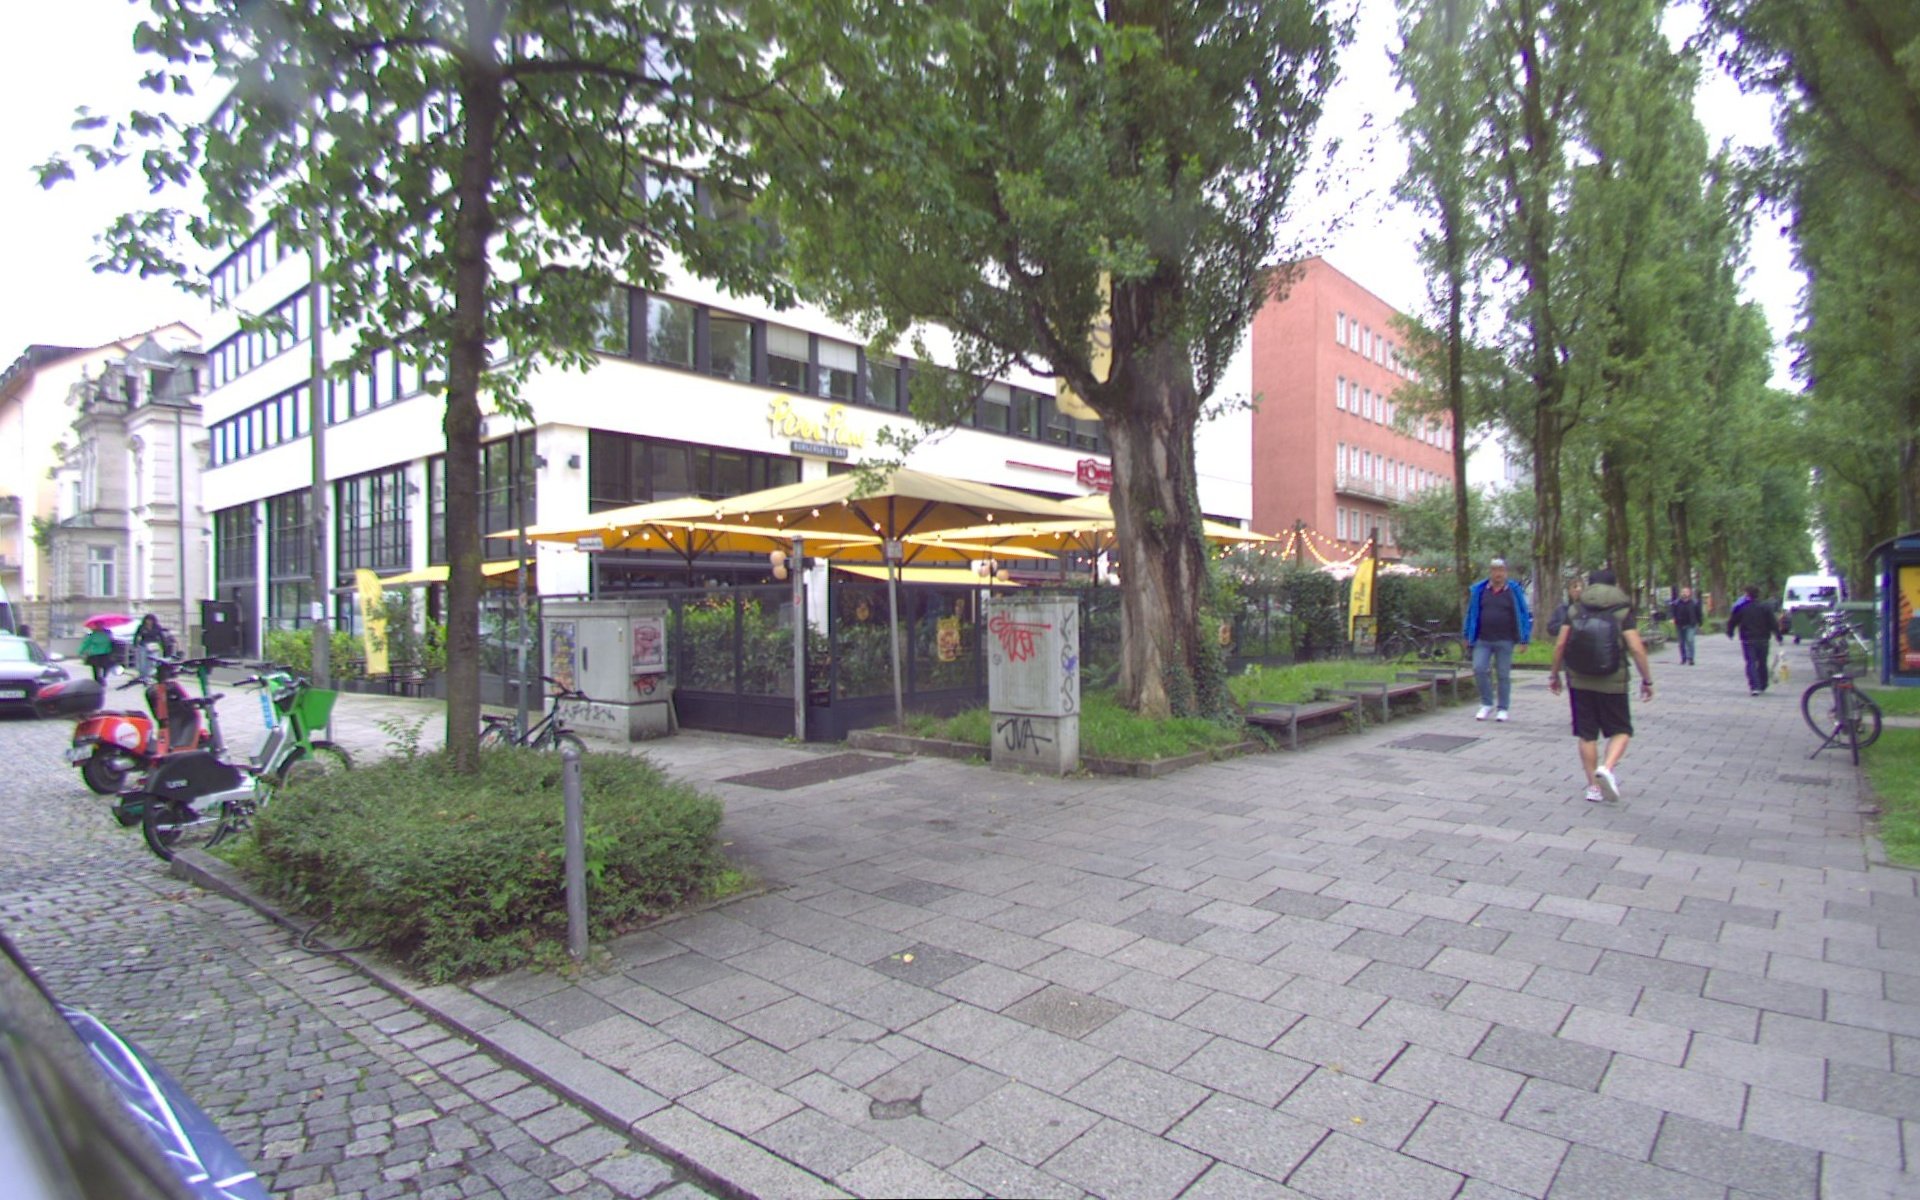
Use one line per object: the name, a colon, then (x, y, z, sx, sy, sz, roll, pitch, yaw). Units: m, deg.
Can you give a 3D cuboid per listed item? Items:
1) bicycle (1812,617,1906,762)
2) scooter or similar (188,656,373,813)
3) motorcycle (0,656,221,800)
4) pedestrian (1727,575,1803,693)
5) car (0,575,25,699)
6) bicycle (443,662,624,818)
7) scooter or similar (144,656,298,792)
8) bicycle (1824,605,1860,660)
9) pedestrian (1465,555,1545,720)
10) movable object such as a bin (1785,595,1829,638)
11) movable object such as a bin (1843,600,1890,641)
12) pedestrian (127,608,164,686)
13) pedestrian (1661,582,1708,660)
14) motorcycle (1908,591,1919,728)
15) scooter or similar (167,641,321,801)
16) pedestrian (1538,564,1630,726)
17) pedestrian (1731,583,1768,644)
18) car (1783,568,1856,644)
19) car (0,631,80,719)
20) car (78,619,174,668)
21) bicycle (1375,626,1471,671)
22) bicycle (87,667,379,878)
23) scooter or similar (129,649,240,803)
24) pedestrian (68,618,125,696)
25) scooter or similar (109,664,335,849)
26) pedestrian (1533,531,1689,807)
bicycle: (8.268, 0.766, 9.338, 0.583, 1.197, 1.594, -1, -1, 41)
scooter or similar: (-5.631, 1.076, 8.431, 0.327, 1.153, 1.234, -1, -1, 41)
motorcycle: (-8.100, 1.151, 9.729, 0.759, 1.205, 1.995, 0, -2, -9)
pedestrian: (12.289, 0.500, 15.463, 0.857, 1.724, 0.946, -1, -1, 39)
car: (-22.128, 0.791, 21.889, 5.843, 2.510, 2.039, -1, -1, 40)
bicycle: (-3.364, 1.035, 7.908, 1.761, 1.030, 0.546, -1, -1, 40)
scooter or similar: (-6.785, 1.122, 9.297, 1.237, 1.189, 0.389, -1, -1, 9)
bicycle: (20.193, 0.712, 23.188, 0.583, 1.197, 2.112, -1, -1, 41)
pedestrian: (6.537, 0.442, 12.166, 0.697, 1.922, 0.641, -1, -1, 17)
movable object such as a bin: (28.417, 0.562, 33.965, 1.062, 1.415, 0.971, -1, -1, 38)
movable object such as a bin: (29.793, 0.663, 33.284, 1.062, 1.321, 0.971, -1, -1, 38)
pedestrian: (-18.783, 1.067, 23.331, 0.650, 1.761, 0.567, -1, -1, 43)
pedestrian: (16.226, 0.469, 22.663, 0.637, 1.705, 0.736, 0, -1, -45)
motorcycle: (8.821, 0.600, 8.008, 0.620, 1.204, 1.993, -1, 4, -3)
scooter or similar: (-6.297, 1.020, 8.962, 0.324, 1.282, 1.247, -1, -1, 10)
pedestrian: (6.932, 0.489, 11.269, 0.697, 1.741, 0.641, -1, -1, 17)
pedestrian: (22.603, 0.387, 28.969, 0.637, 1.705, 0.736, 0, -1, -45)
car: (37.047, 0.256, 43.723, 2.198, 3.040, 5.921, -1, -1, 39)
car: (-16.706, 1.231, 17.318, 4.115, 1.340, 1.973, -1, -1, 42)
car: (-28.674, 1.448, 34.759, 4.167, 1.544, 1.888, -1, -1, 41)
bicycle: (10.084, 1.035, 22.057, 1.800, 0.919, 0.612, -1, -1, 39)
bicycle: (-4.888, 1.094, 6.967, 0.548, 1.152, 1.757, -1, 0, 10)
scooter or similar: (-7.147, 1.109, 9.375, 0.322, 1.282, 1.361, 0, -1, -15)
pedestrian: (-19.602, 1.266, 22.973, 0.800, 1.719, 0.916, -1, -1, 43)
scooter or similar: (-5.386, 1.090, 7.483, 0.366, 1.153, 1.422, -1, -1, 17)
pedestrian: (4.546, 0.451, 7.075, 0.695, 1.786, 0.753, 0, -1, -44)
